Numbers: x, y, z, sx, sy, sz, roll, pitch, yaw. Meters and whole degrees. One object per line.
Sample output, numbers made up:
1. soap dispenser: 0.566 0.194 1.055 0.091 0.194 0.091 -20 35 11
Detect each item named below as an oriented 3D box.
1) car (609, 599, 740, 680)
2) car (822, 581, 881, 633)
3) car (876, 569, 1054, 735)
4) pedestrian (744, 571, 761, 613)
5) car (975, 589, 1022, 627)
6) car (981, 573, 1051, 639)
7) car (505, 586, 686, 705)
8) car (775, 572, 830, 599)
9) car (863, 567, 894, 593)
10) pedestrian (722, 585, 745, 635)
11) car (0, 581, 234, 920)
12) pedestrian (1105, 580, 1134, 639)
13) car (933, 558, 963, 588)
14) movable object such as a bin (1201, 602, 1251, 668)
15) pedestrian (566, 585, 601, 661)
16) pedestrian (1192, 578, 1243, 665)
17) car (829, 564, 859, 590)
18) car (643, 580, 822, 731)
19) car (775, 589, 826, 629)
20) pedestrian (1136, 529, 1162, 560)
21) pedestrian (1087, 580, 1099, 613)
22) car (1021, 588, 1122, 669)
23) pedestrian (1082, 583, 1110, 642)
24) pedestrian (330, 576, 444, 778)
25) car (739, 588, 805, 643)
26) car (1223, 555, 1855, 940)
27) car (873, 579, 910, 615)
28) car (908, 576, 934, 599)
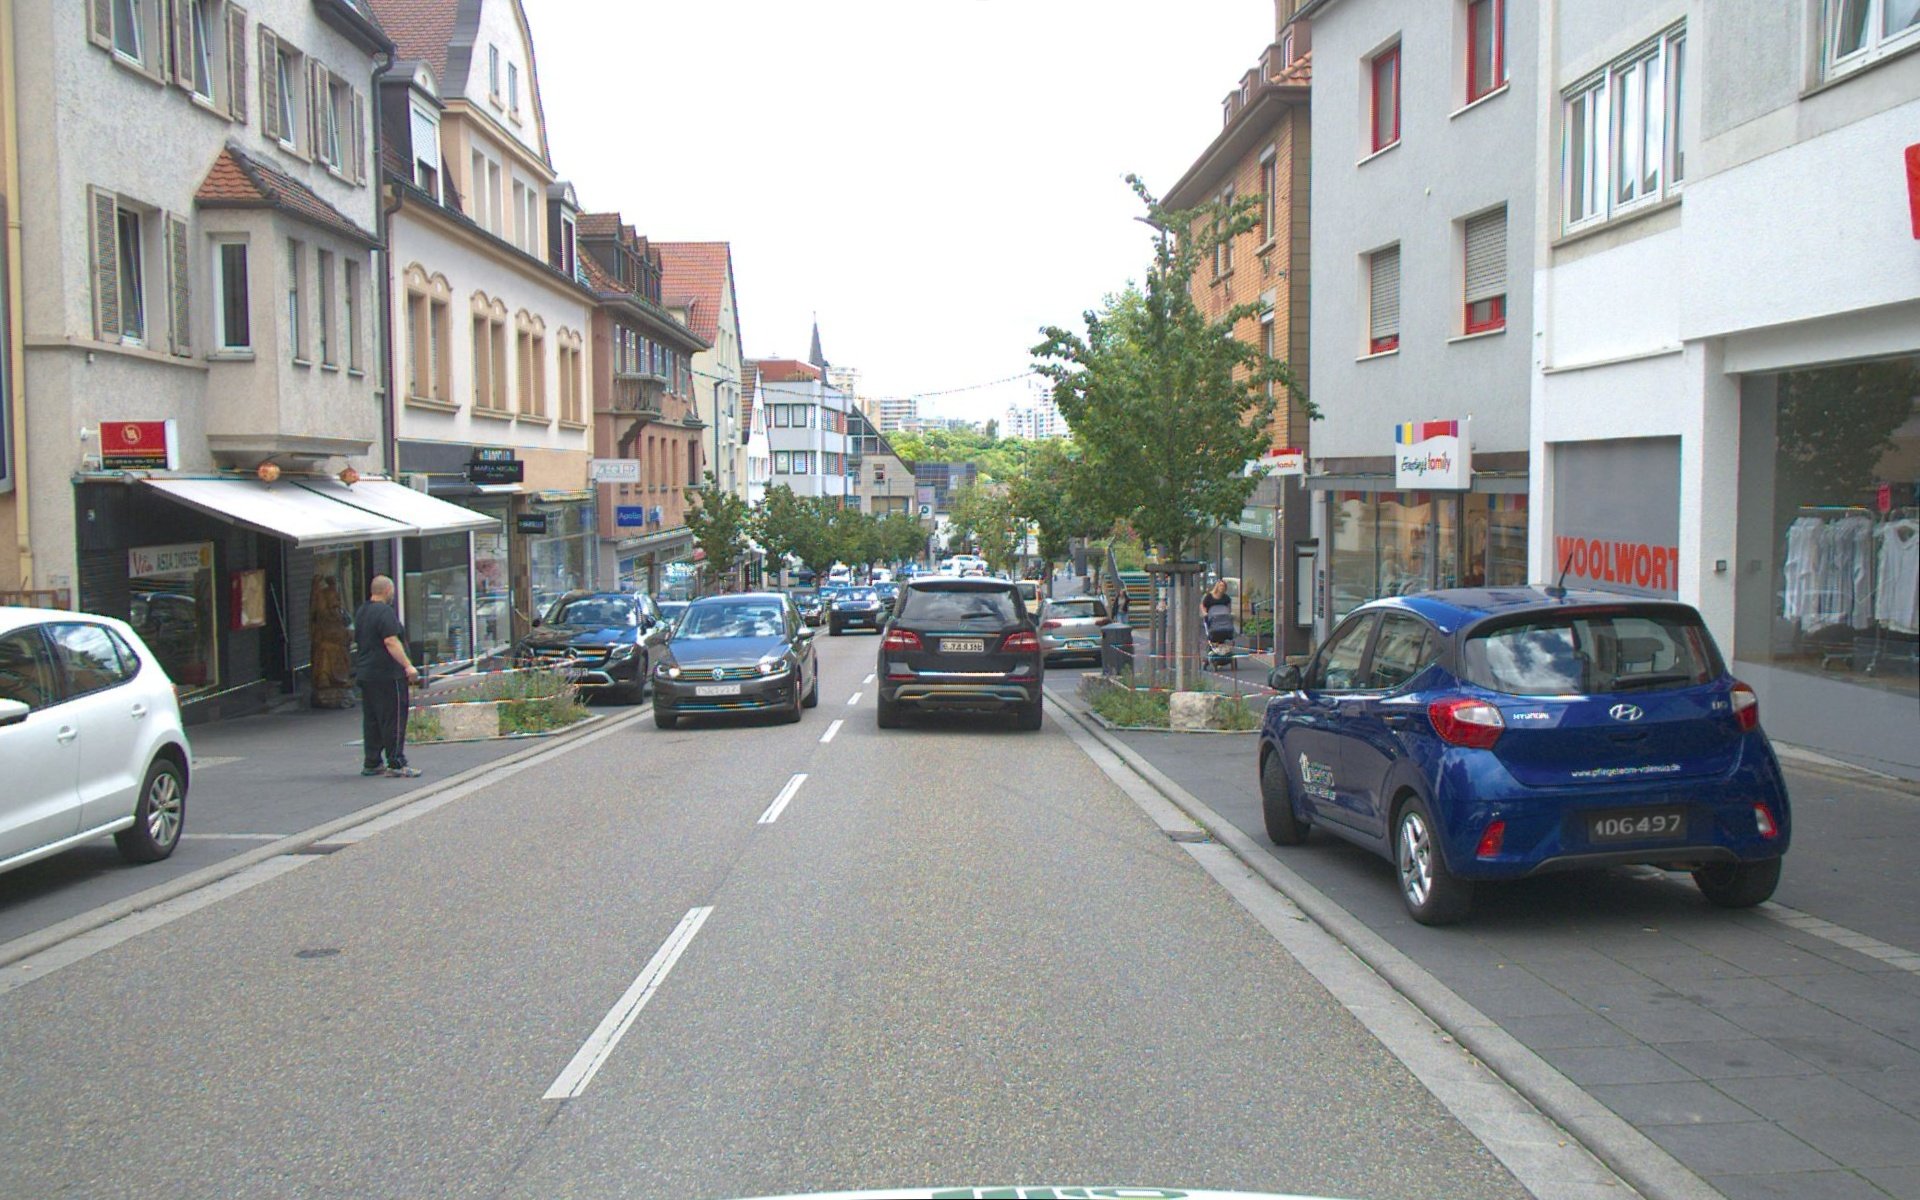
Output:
1. car: -5.636 0.744 33.191 1.887 1.455 4.262 0 1 0
2. car: -3.857 0.205 59.676 1.952 1.748 4.445 -1 1 -2
3. car: 0.034 0.527 20.031 1.904 1.770 4.178 1 1 -1
4. pedestrian: -8.374 -0.323 66.837 0.628 1.696 0.720 0 0 -2
5. car: 1.624 0.328 71.208 1.898 1.482 4.707 -1 1 0
6. car: 1.755 0.156 53.215 1.899 1.924 4.706 -2 1 -2
7. car: -5.510 0.631 25.590 1.888 1.649 4.638 1 0 -2
8. car: -11.602 -1.088 121.904 3.909 1.780 1.998 -3 0 -5
9. car: -5.505 -1.337 111.707 1.887 1.657 4.262 2 1 -1
10. pedestrian: -7.810 0.343 57.041 0.712 1.696 0.720 0 0 -2
11. car: -5.493 0.712 8.329 1.888 1.537 4.261 2 1 -2
12. pedestrian: 4.576 0.275 47.550 0.658 1.661 0.669 -2 0 -3
13. car: -0.943 -2.201 136.431 2.128 2.405 4.625 -1 1 3
14. movable object such as a bin: 4.935 0.640 30.768 0.707 1.178 0.906 -3 0 -2
15. pedestrian: -8.130 0.478 35.748 0.536 1.603 0.863 -1 1 -2
16. pedestrian: 4.930 0.398 31.719 0.720 1.612 1.000 -3 0 -2
17. car: -8.023 -1.598 114.626 1.888 1.657 4.413 2 1 -3
18. car: -2.776 0.627 21.013 1.782 1.646 4.134 -2 0 -2
19. car: -6.793 0.360 70.697 1.888 1.522 4.261 2 1 -2
20. pedestrian: 7.956 -2.329 69.698 0.970 1.252 0.984 0 0 1
21. pedestrian: 6.561 -0.182 81.549 0.556 1.614 0.666 -1 0 7
22. car: 2.358 0.574 35.814 1.713 1.491 4.073 -4 1 -2
23. pedestrian: 3.897 0.354 47.425 0.658 1.661 0.669 -2 0 -3
24. pedestrian: -4.976 0.642 14.403 0.722 1.701 0.862 0 1 -4
25. car: -6.124 0.468 54.281 1.889 1.623 4.455 2 1 -4
26. car: 2.775 0.631 8.913 1.715 1.524 3.795 -3 0 -6
27. car: -3.370 -0.174 81.532 1.729 1.645 4.031 -1 1 -2
28. car: -2.736 -0.891 115.277 1.775 1.534 3.999 -1 1 -2
